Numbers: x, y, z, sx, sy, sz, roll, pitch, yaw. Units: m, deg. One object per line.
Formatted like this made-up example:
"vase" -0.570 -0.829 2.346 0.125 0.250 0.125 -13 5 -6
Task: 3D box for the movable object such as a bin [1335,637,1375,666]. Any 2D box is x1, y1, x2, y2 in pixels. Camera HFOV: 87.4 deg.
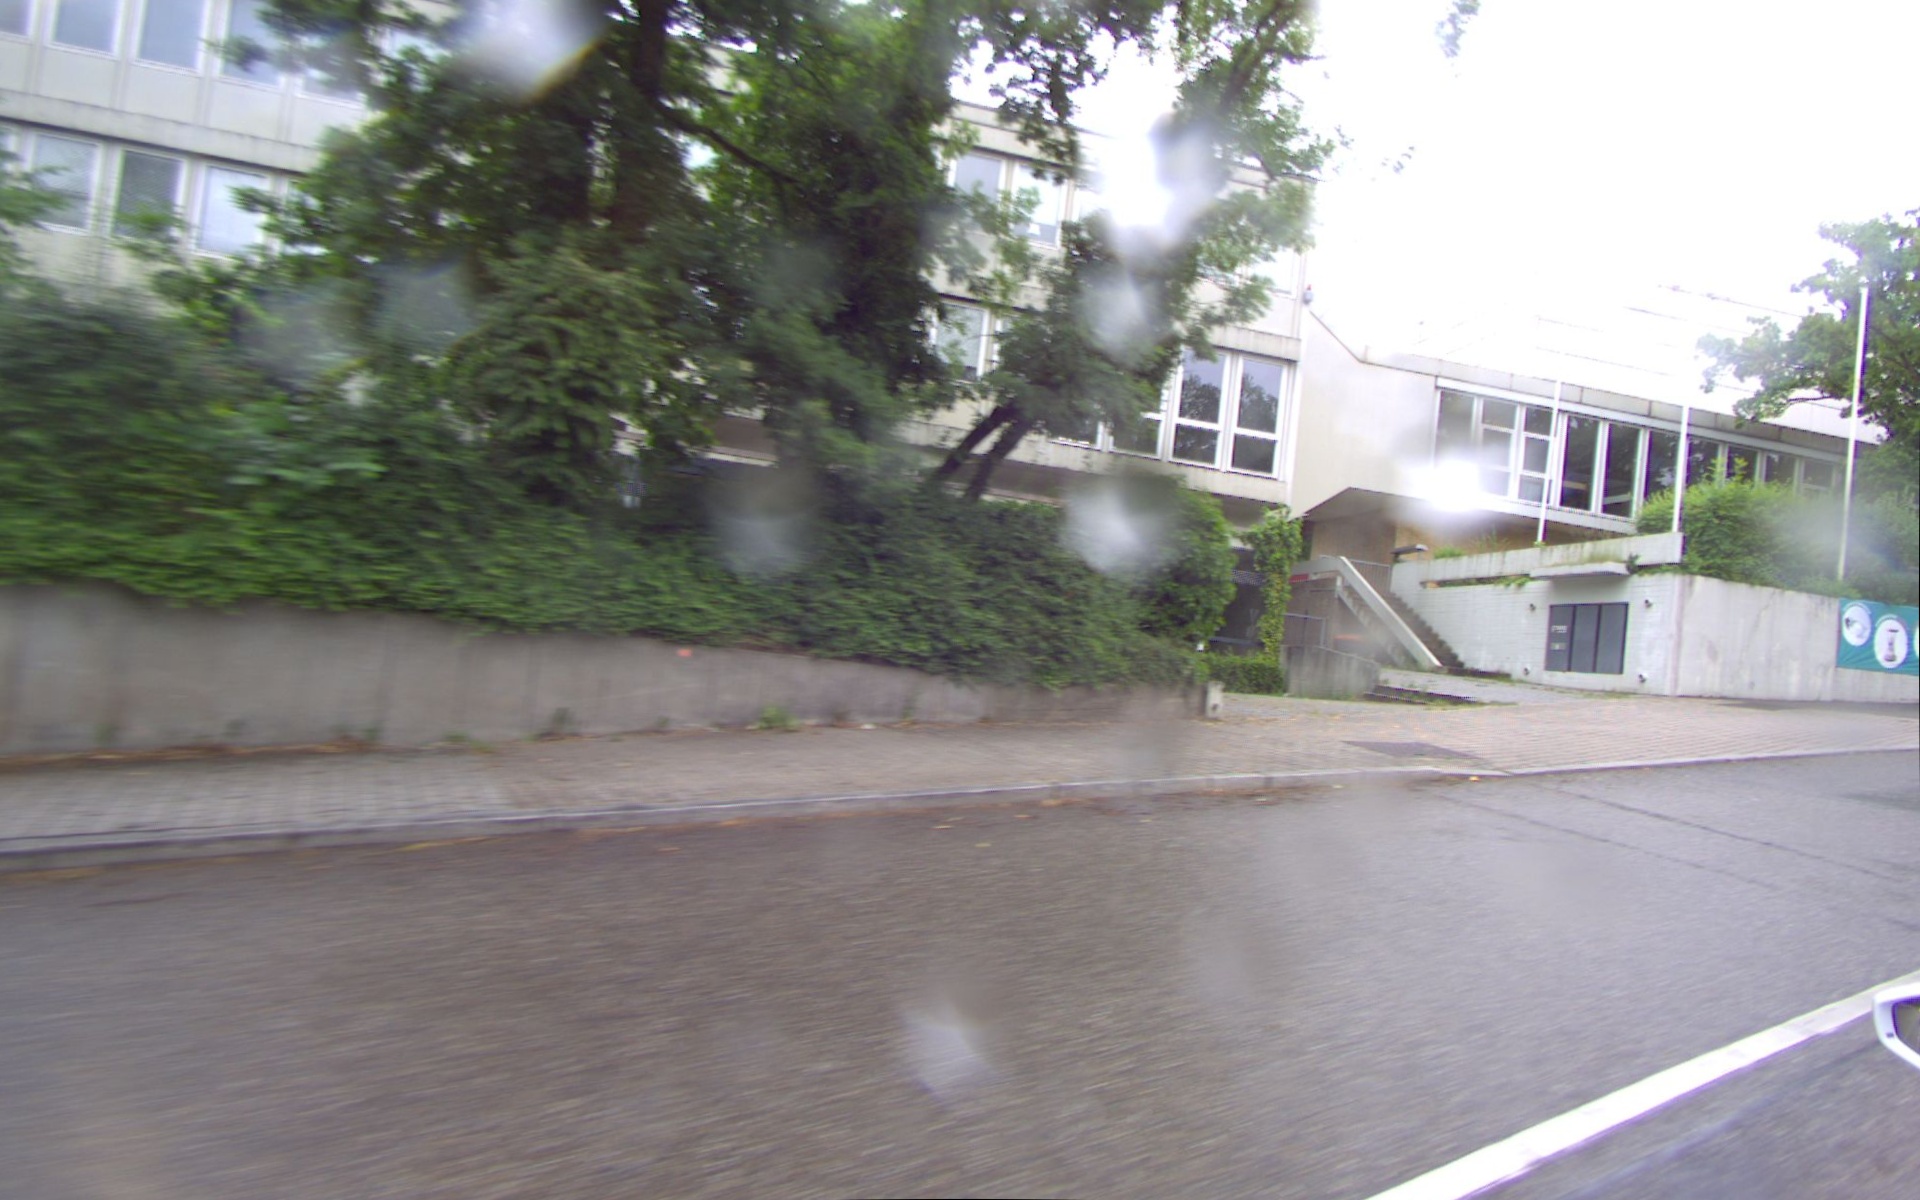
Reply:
"movable object such as a bin" 11.201 1.461 28.508 0.593 0.804 1.033 1 -2 -13
